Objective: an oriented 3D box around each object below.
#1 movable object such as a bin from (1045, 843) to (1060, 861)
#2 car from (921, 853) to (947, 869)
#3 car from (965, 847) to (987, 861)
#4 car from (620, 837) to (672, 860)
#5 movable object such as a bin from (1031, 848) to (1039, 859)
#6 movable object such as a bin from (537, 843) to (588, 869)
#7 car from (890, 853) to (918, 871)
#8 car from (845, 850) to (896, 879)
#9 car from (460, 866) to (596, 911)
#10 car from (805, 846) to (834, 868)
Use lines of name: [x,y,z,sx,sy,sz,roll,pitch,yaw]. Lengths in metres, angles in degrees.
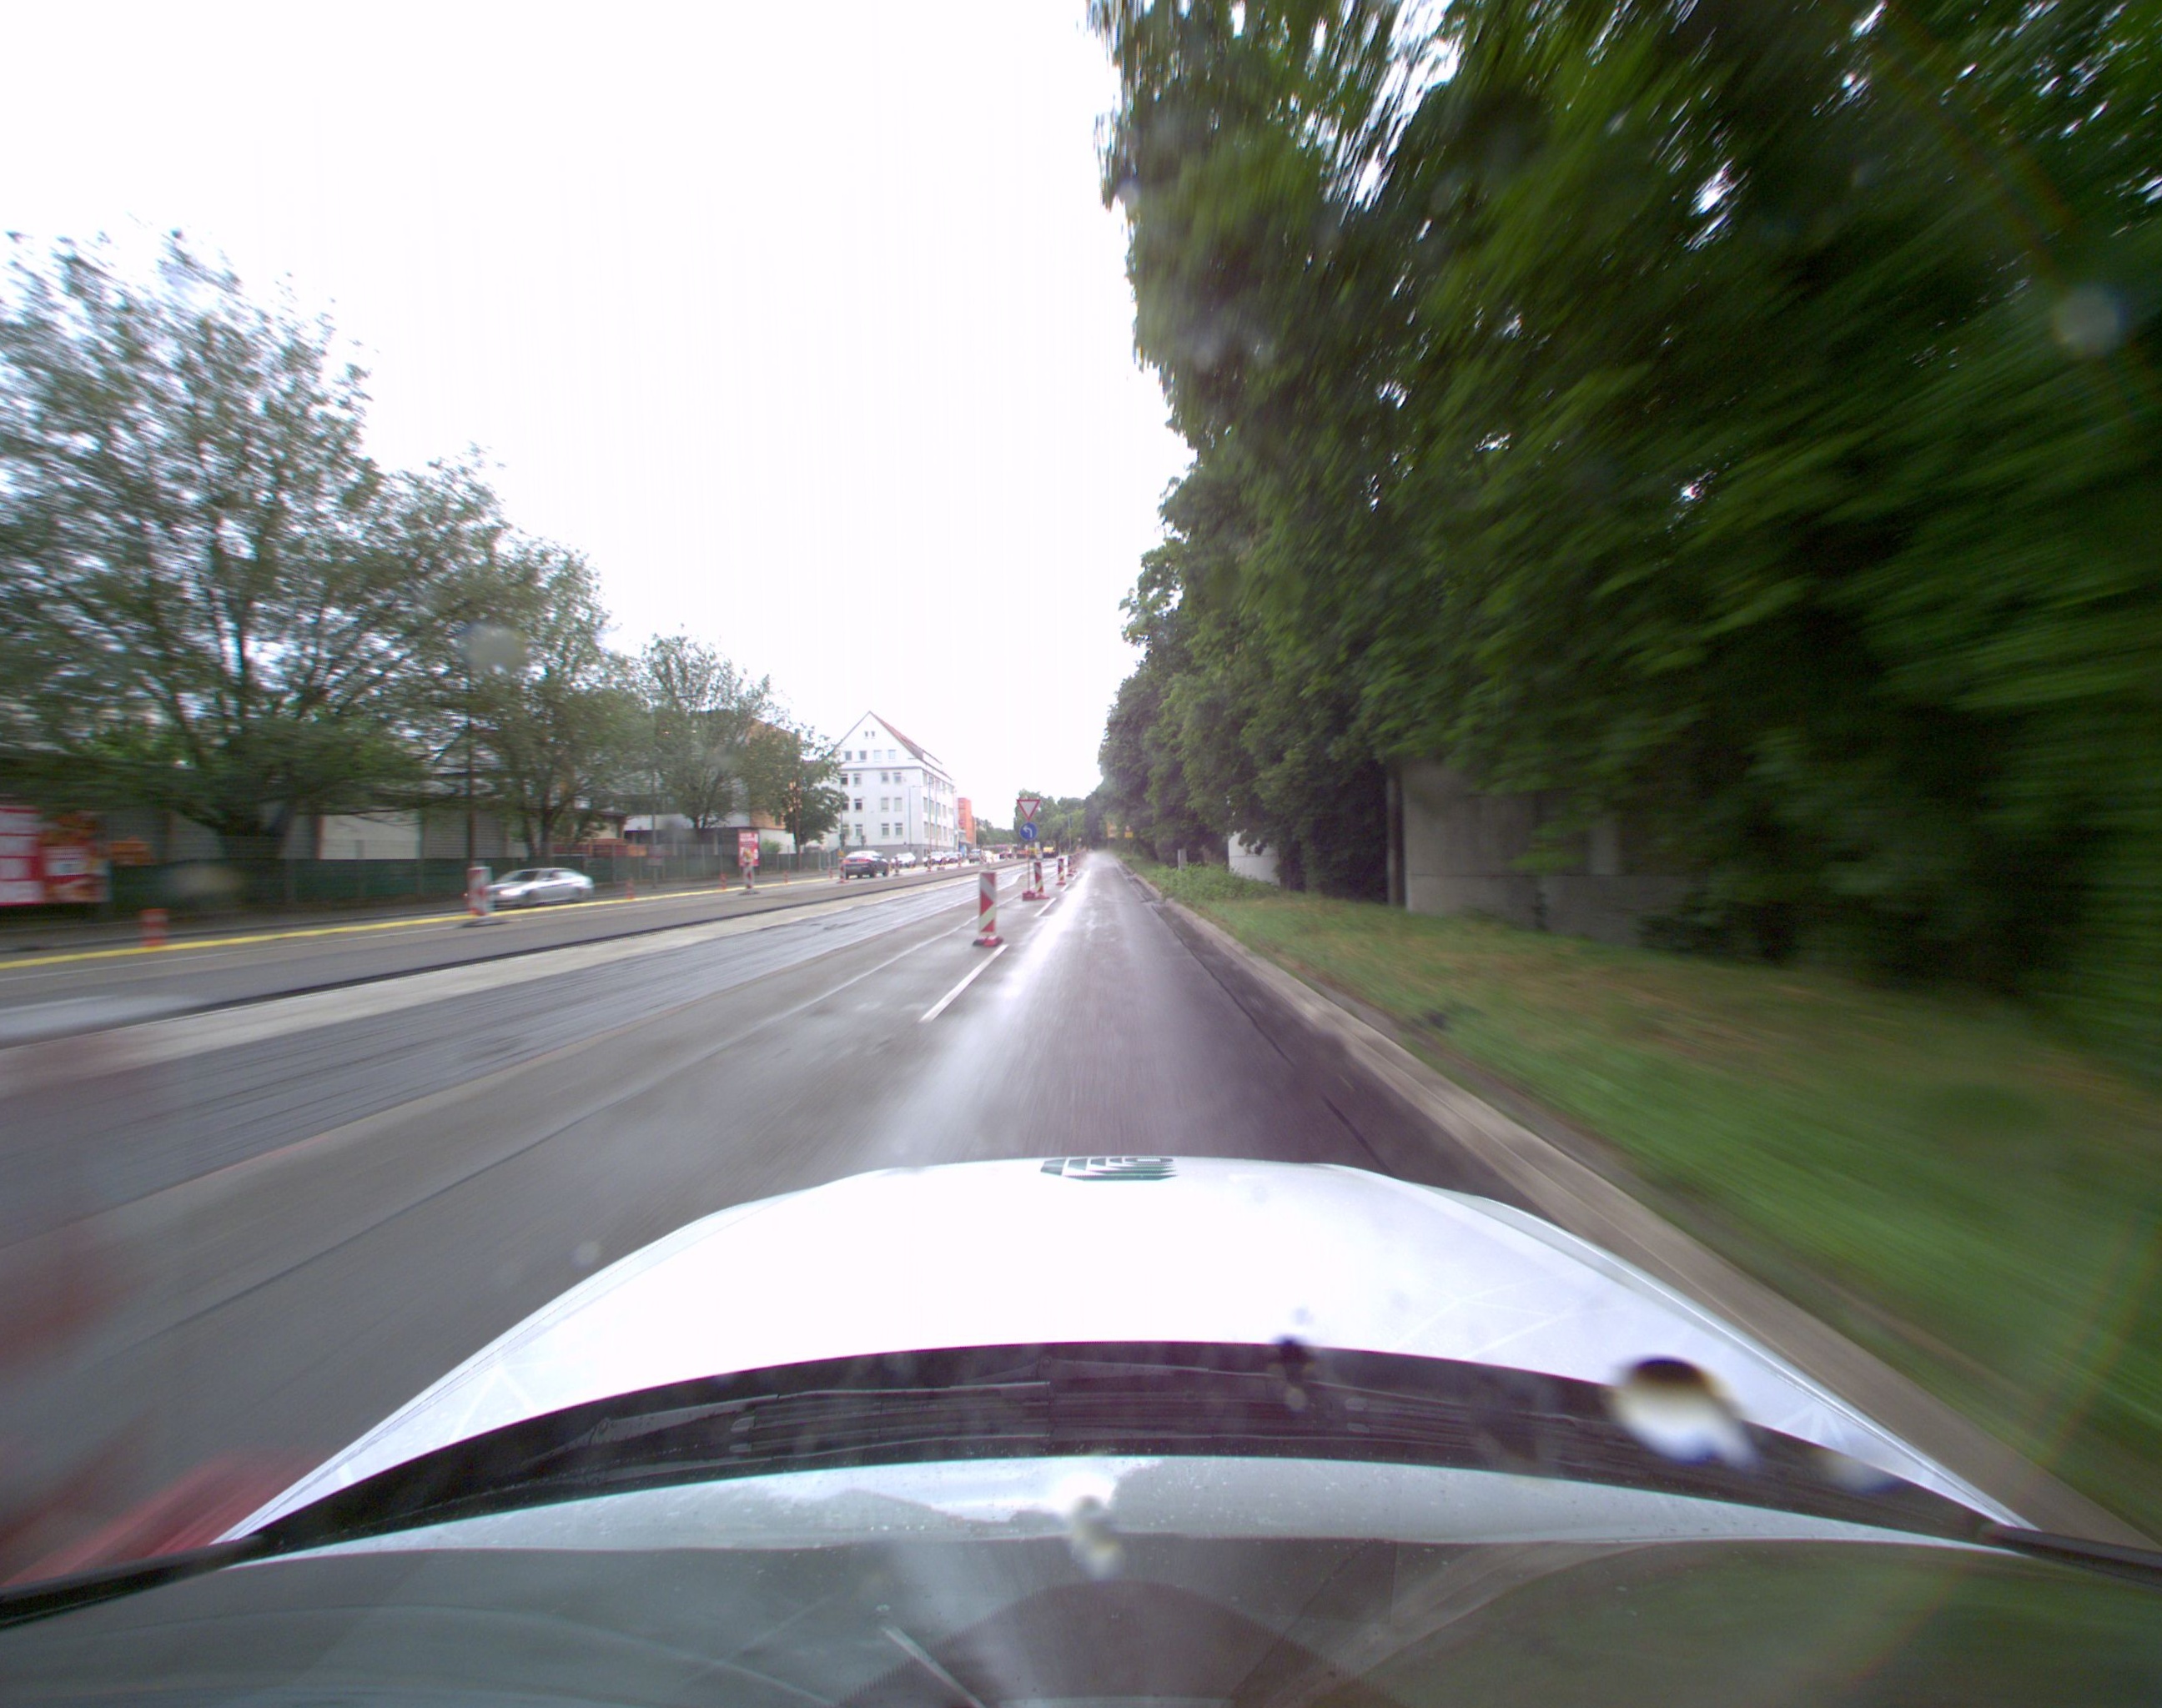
movable object such as a bin: [-4.433,-0.314,127.178,1.895,2.609,5.384,-2,0,1]
car: [-16.296,0.775,90.570,1.852,1.619,4.367,-4,0,2]
car: [-12.814,0.028,99.679,1.885,1.650,4.398,-1,0,2]
car: [-32.206,-0.403,60.296,3.971,1.527,2.013,-1,0,39]
movable object such as a bin: [-6.703,-0.080,118.703,1.080,1.644,2.439,-2,0,0]
movable object such as a bin: [-32.370,0.150,50.777,3.973,1.527,1.764,-1,0,44]
car: [-19.059,0.852,87.834,1.852,1.706,4.367,-4,0,2]
car: [-13.088,0.618,50.976,1.885,1.650,4.398,-1,0,2]
car: [-19.715,1.191,29.302,1.660,1.315,4.457,-4,0,2]
car: [-26.830,0.308,83.604,1.604,2.170,4.000,-2,0,0]
